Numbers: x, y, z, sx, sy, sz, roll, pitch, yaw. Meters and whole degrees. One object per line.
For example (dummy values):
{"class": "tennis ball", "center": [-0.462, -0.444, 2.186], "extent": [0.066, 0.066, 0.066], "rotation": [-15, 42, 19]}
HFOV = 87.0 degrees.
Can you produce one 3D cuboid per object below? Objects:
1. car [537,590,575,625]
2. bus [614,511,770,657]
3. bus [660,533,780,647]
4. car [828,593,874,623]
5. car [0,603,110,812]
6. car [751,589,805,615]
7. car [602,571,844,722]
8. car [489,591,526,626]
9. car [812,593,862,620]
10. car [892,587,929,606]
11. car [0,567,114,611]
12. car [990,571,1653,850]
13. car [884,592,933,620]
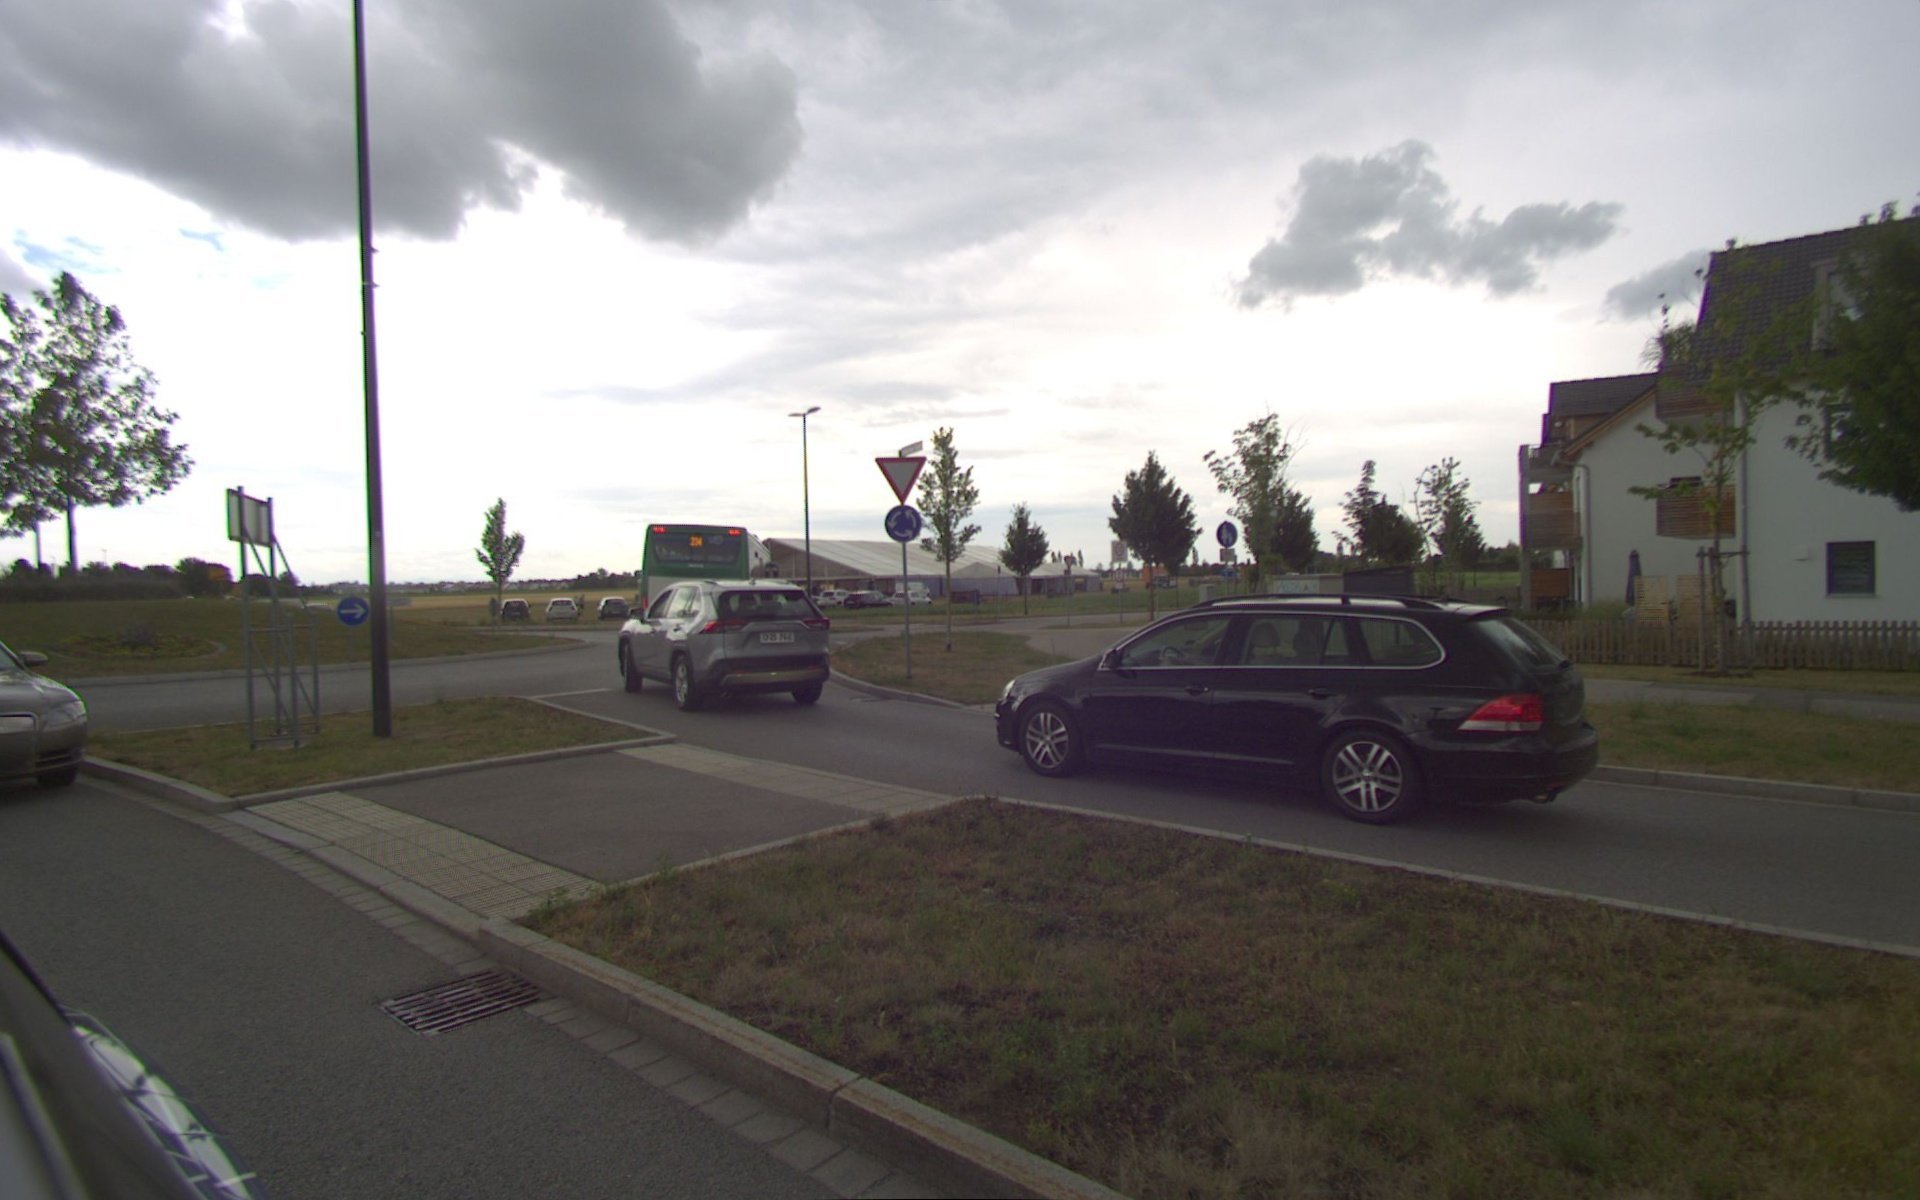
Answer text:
{"class": "car", "center": [-24.758, 0.464, 61.926], "extent": [1.965, 2.029, 4.013], "rotation": [0, -1, -24]}
{"class": "bus", "center": [-6.710, -0.333, 26.327], "extent": [2.947, 3.305, 6.493], "rotation": [0, -1, -6]}
{"class": "bus", "center": [-7.600, -0.262, 32.946], "extent": [2.947, 3.305, 6.710], "rotation": [0, -1, -6]}
{"class": "car", "center": [-7.636, 0.535, 70.650], "extent": [2.194, 2.029, 4.013], "rotation": [0, -1, -21]}
{"class": "car", "center": [-8.663, 0.773, 7.948], "extent": [3.981, 1.477, 1.686], "rotation": [0, 0, 28]}
{"class": "car", "center": [-14.220, 0.160, 79.275], "extent": [1.994, 2.029, 3.956], "rotation": [-1, -1, 32]}
{"class": "car", "center": [-3.421, 0.505, 13.922], "extent": [1.801, 1.735, 4.411], "rotation": [0, 1, -34]}
{"class": "car", "center": [-27.286, 0.505, 61.055], "extent": [1.965, 2.029, 4.013], "rotation": [0, -1, -24]}
{"class": "car", "center": [-9.504, 0.489, 78.492], "extent": [1.991, 2.029, 3.961], "rotation": [-1, -1, 28]}
{"class": "car", "center": [-5.394, -0.320, 110.797], "extent": [1.991, 2.029, 4.523], "rotation": [-1, -1, 28]}
{"class": "car", "center": [-36.841, -0.393, 41.241], "extent": [1.967, 1.696, 4.010], "rotation": [0, -1, -12]}
{"class": "car", "center": [2.447, 0.622, 7.592], "extent": [4.337, 1.500, 1.806], "rotation": [-1, -1, 43]}
{"class": "car", "center": [-3.851, 0.431, 76.179], "extent": [1.991, 2.029, 3.961], "rotation": [-1, -1, 28]}
